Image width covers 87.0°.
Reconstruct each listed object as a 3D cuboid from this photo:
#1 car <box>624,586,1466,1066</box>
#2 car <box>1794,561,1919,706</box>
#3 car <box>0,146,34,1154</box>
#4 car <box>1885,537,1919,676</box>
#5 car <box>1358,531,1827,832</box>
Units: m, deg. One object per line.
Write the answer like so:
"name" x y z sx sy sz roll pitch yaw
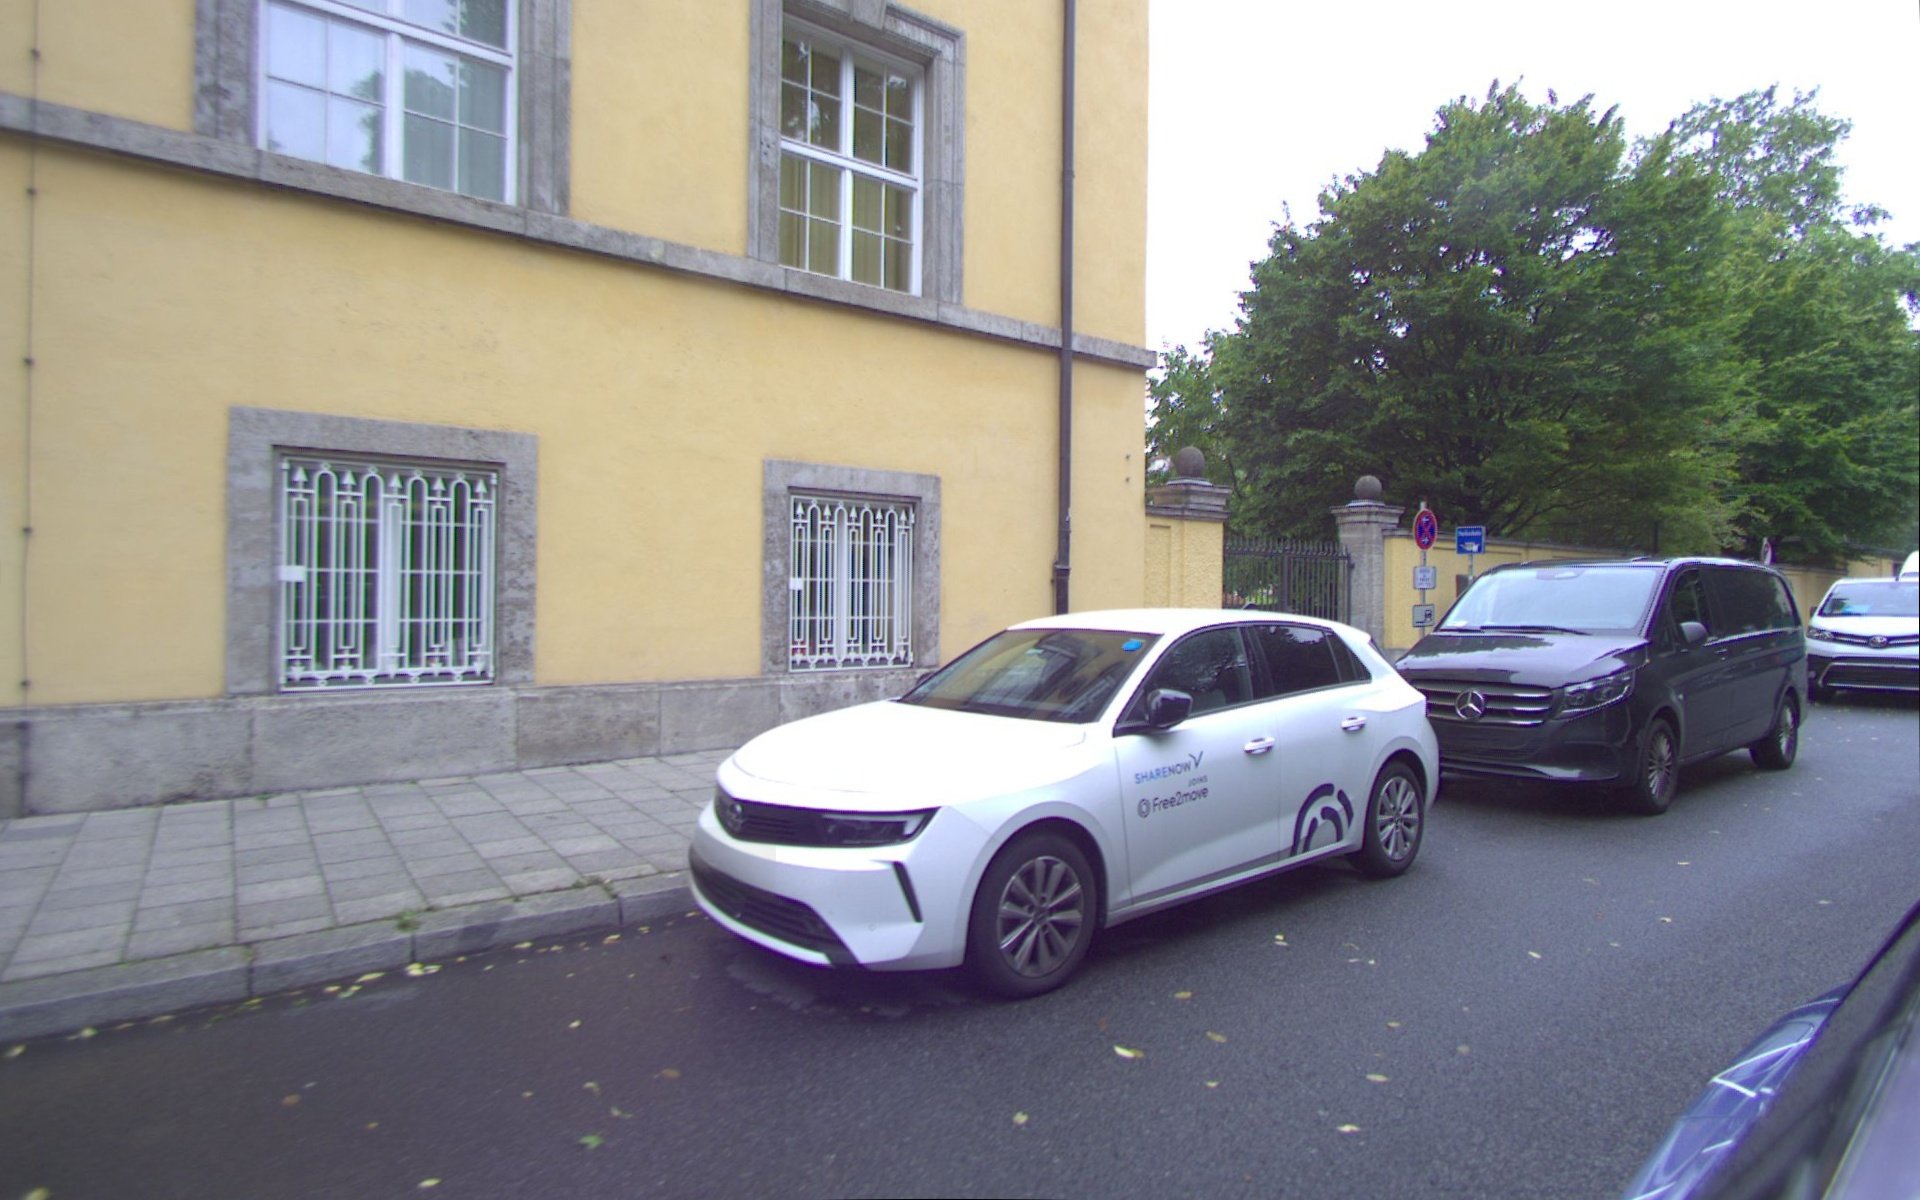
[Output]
"car" 0.670 0.681 5.196 4.178 1.476 1.875 -1 1 -38
"car" 14.543 0.428 15.346 5.072 1.931 2.017 0 -1 -40
"car" -5.333 0.159 0.170 7.476 2.706 2.059 -1 1 -38
"car" 20.027 0.060 19.702 5.636 2.518 2.100 -2 1 -38
"car" 5.576 0.474 8.632 4.896 1.892 1.875 -1 1 -38
